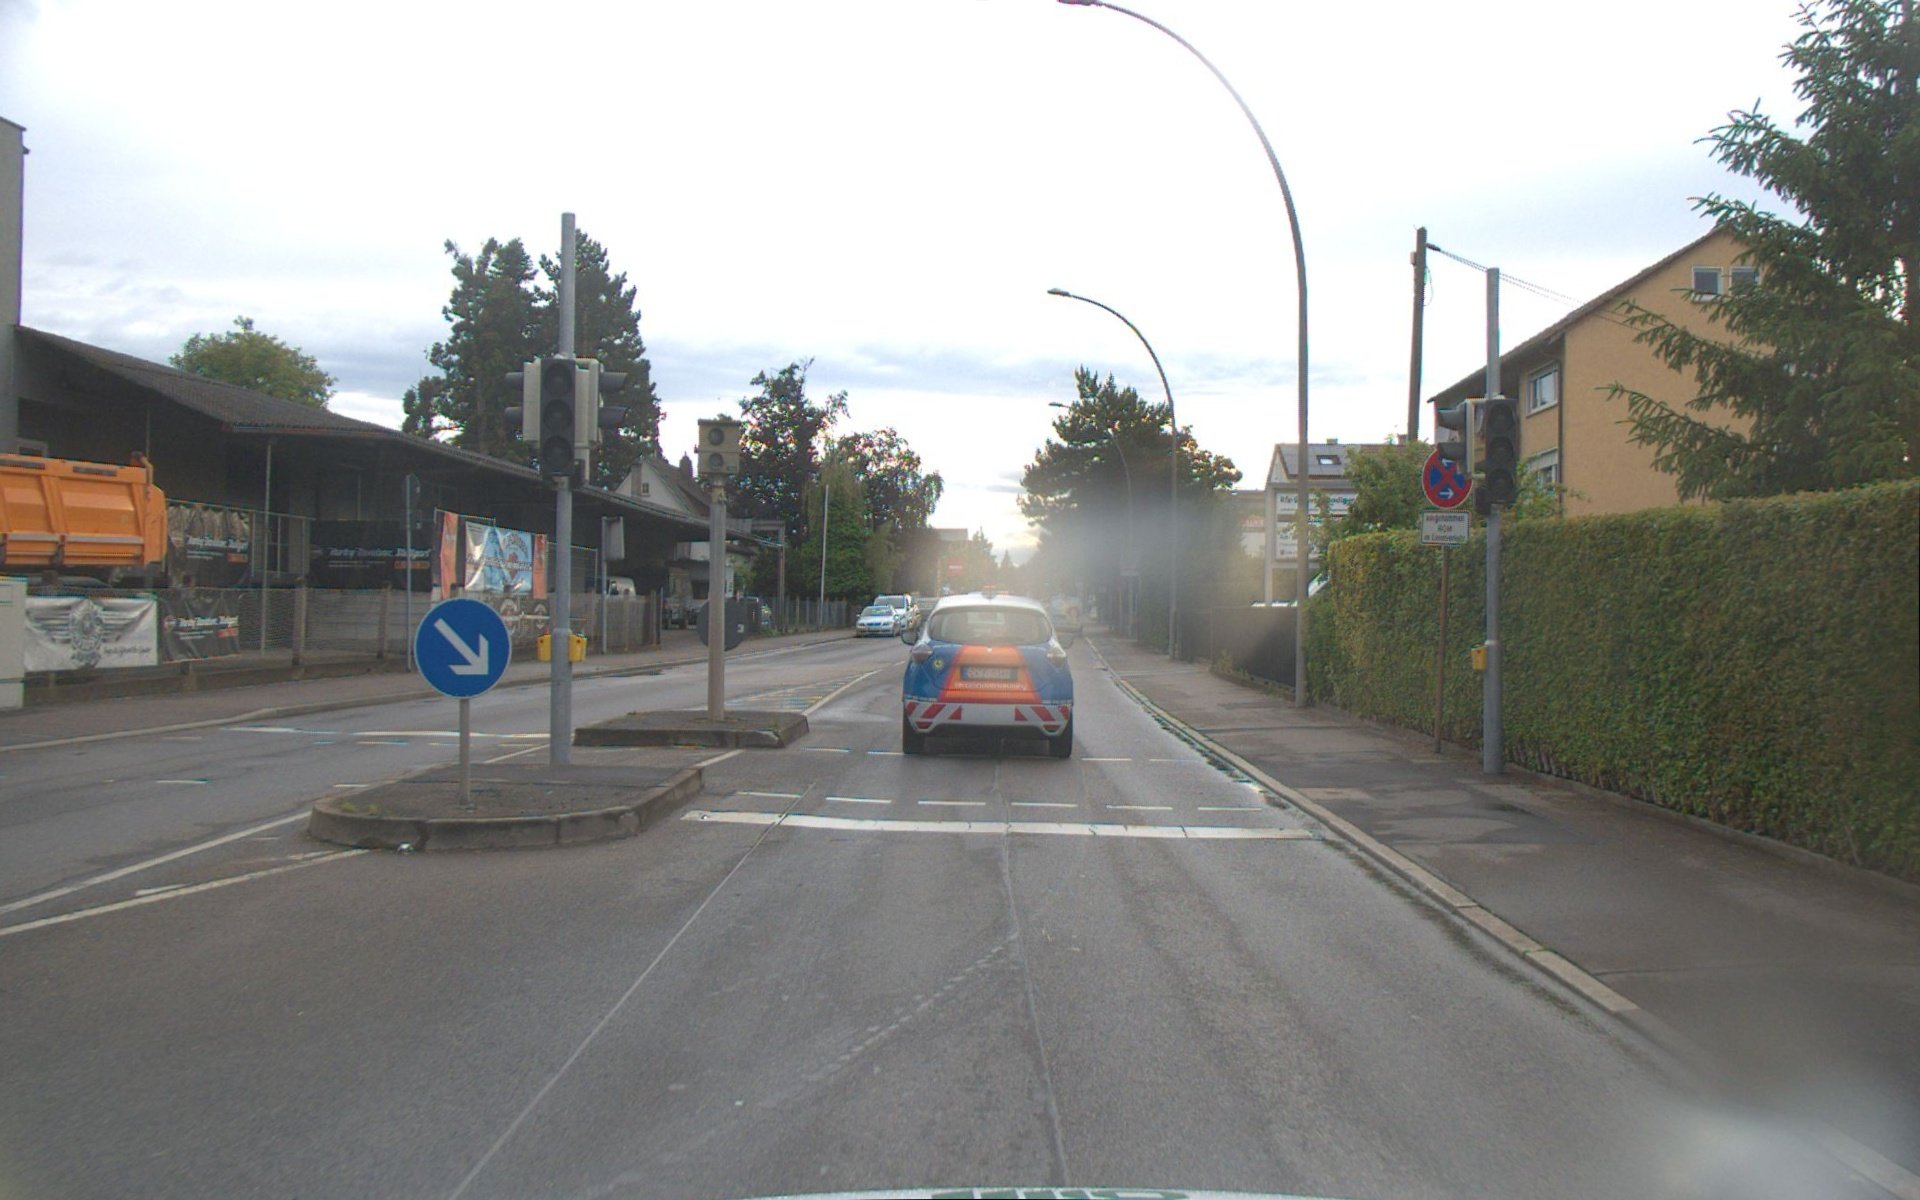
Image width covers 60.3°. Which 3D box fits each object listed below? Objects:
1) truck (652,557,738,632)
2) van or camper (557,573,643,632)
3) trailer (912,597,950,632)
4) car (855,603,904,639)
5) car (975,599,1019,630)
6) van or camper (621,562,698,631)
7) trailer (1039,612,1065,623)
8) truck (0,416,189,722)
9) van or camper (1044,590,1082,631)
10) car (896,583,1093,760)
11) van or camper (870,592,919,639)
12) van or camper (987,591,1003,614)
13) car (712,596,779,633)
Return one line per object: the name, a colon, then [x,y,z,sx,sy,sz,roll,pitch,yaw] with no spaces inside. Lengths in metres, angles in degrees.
truck: [-11.460,-0.180,72.062,2.344,2.978,5.958,3,-1,3]
van or camper: [-12.908,0.114,59.495,1.953,1.942,4.472,3,-1,1]
trailer: [-1.886,0.972,108.620,2.174,2.049,4.436,3,-2,1]
car: [-3.623,0.976,74.990,1.706,1.506,4.185,-1,-2,4]
car: [1.827,0.705,80.974,1.951,1.445,4.002,0,0,4]
van or camper: [-11.986,-0.085,66.354,1.821,2.480,5.234,3,-2,2]
trailer: [6.759,1.313,121.758,1.898,0.767,2.860,1,0,2]
truck: [-12.330,-0.443,18.036,2.641,3.471,9.076,3,-2,6]
van or camper: [4.954,0.495,79.759,1.718,1.916,4.001,0,0,2]
car: [0.331,0.672,17.591,1.850,1.660,4.000,0,0,0]
van or camper: [-3.196,0.798,81.685,1.851,2.049,5.098,3,-2,3]
van or camper: [4.304,0.315,203.509,1.952,2.823,5.442,1,0,2]
car: [-9.044,0.640,70.098,1.895,1.469,4.784,2,-1,3]
